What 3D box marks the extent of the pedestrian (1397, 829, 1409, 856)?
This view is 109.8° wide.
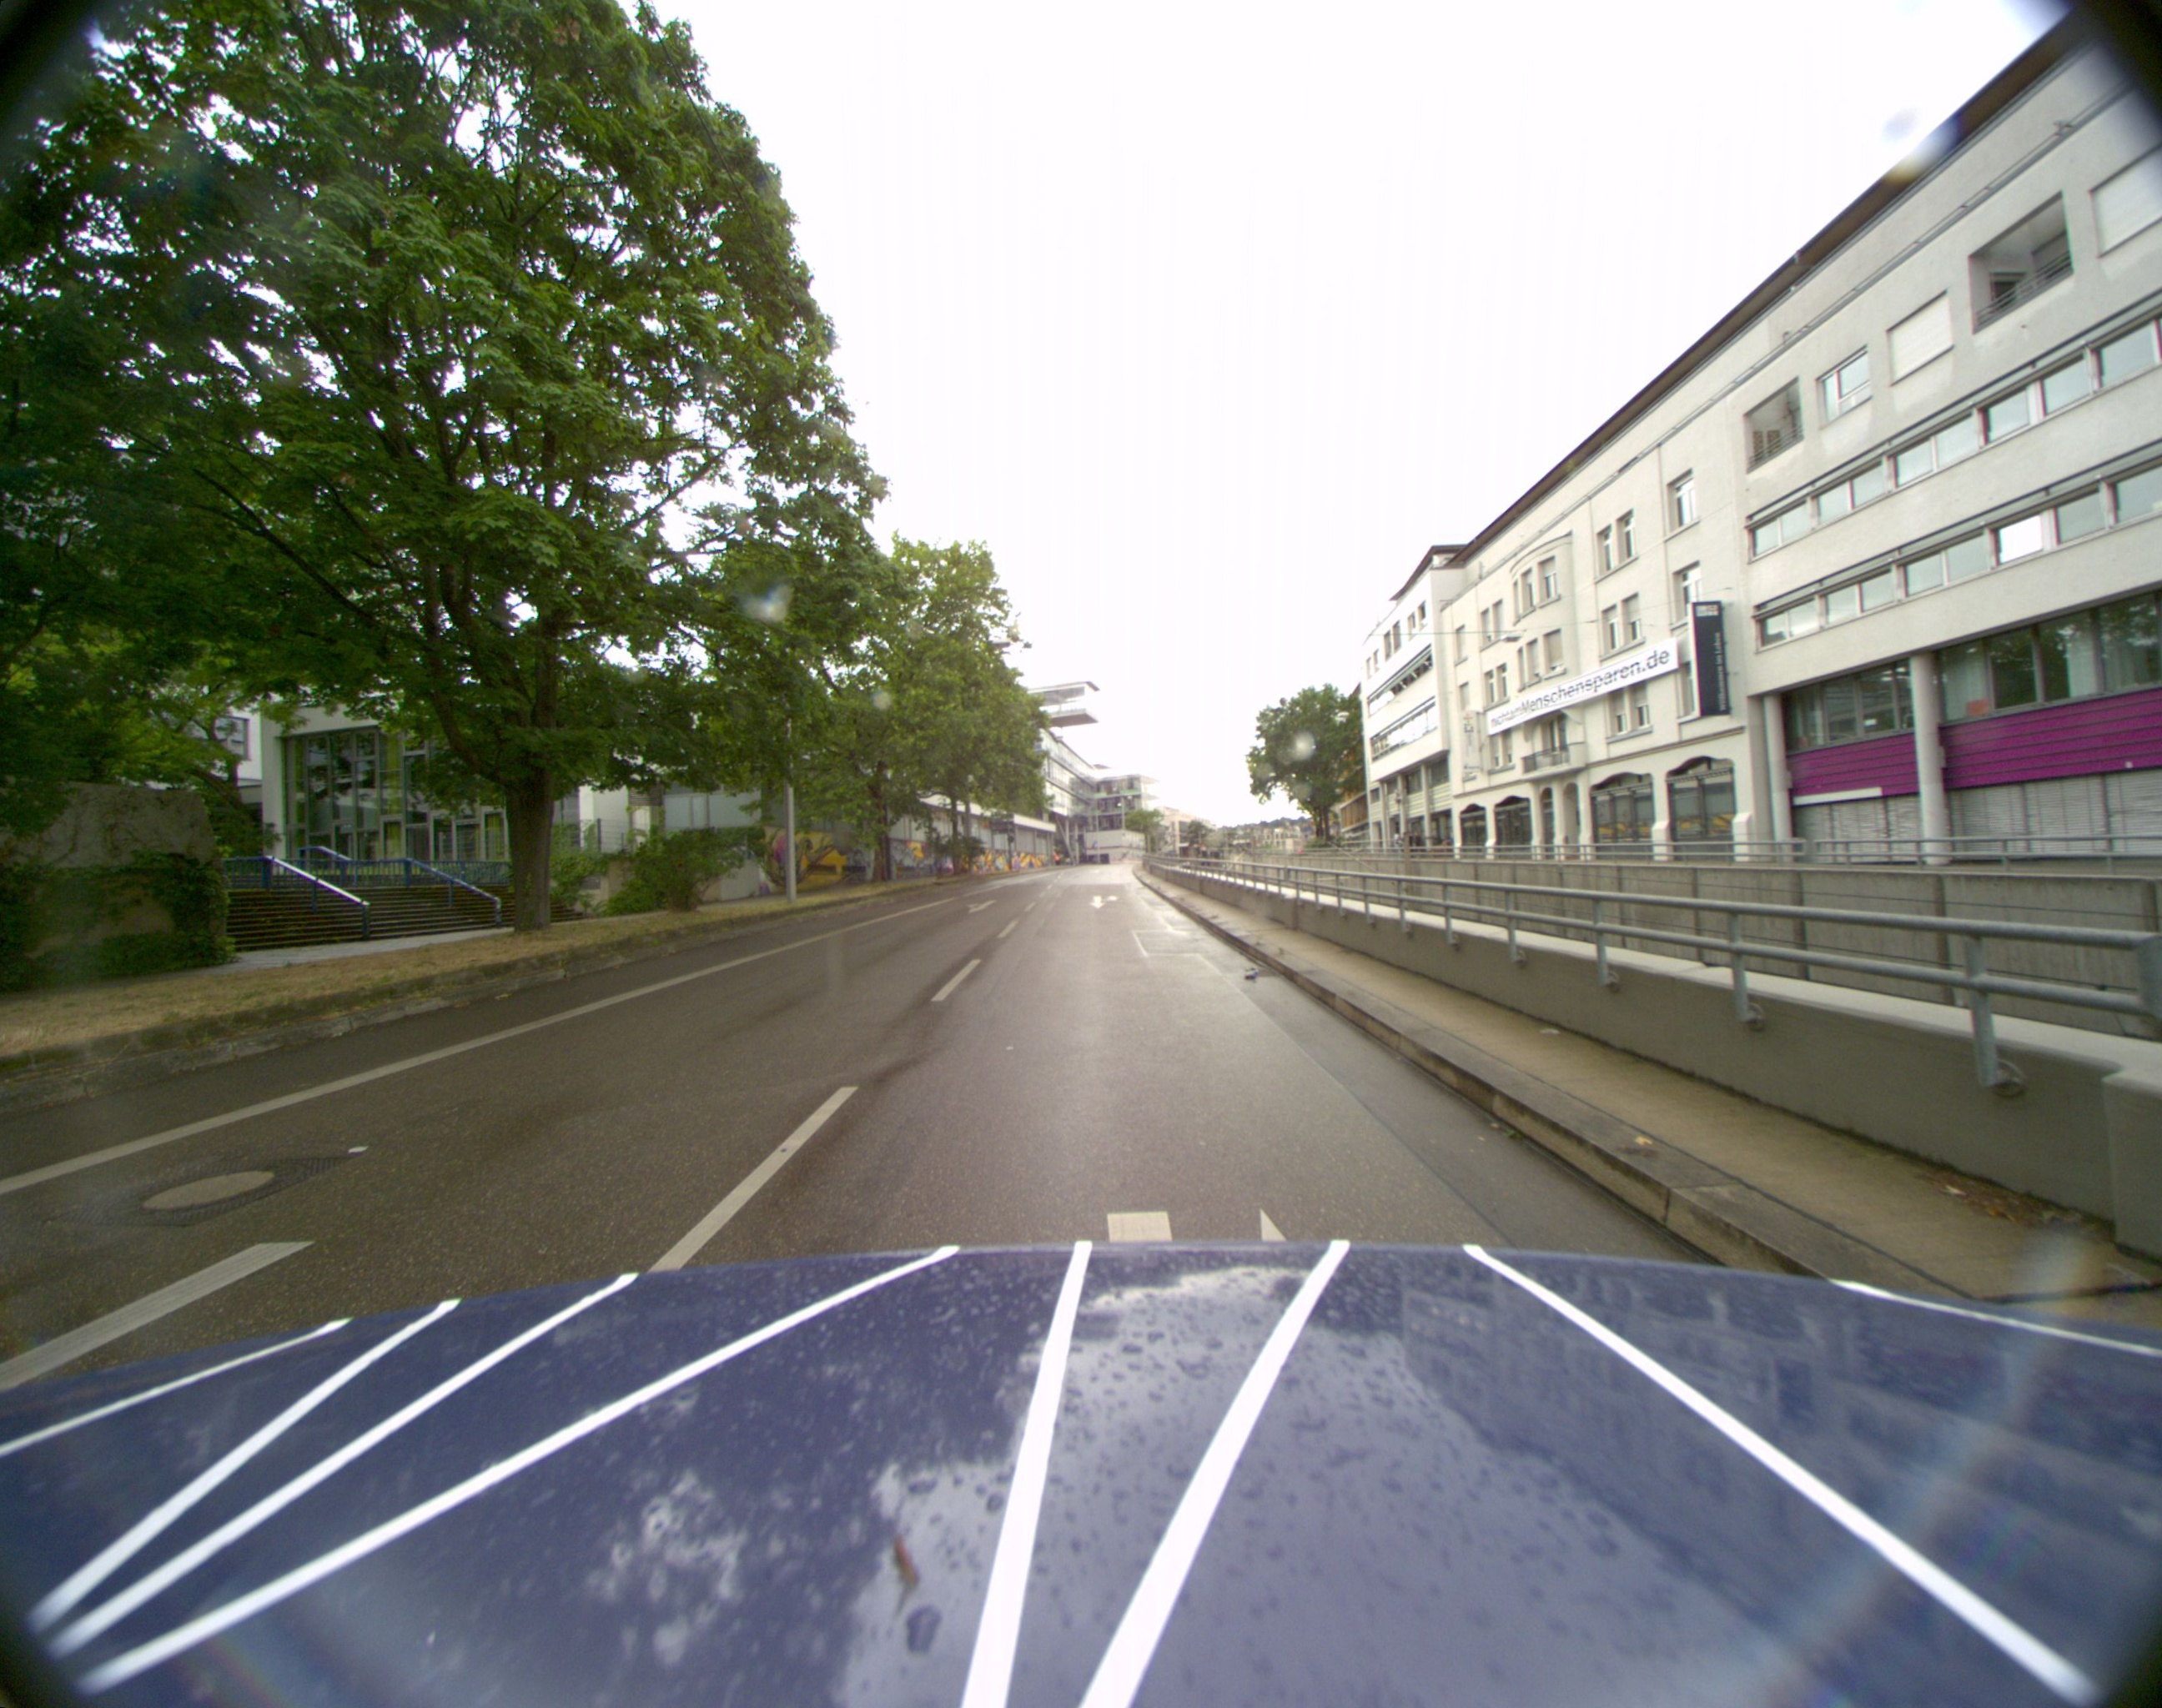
[{"bbox_3d":[21.727,-0.757,51.262,0.469,1.792,0.548,-4,1,8],"label":"pedestrian"}]

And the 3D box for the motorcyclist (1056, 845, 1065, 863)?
[{"bbox_3d":[-2.378,-0.007,89.107,0.754,2.002,1.002,-4,1,9],"label":"motorcyclist"}]

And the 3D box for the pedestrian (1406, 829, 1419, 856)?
[{"bbox_3d":[22.477,-0.795,51.566,0.547,1.792,0.470,-4,1,-7],"label":"pedestrian"}]

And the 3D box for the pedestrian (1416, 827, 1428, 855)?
[{"bbox_3d":[22.568,-0.870,50.304,0.470,1.792,0.547,-4,1,3],"label":"pedestrian"}]
